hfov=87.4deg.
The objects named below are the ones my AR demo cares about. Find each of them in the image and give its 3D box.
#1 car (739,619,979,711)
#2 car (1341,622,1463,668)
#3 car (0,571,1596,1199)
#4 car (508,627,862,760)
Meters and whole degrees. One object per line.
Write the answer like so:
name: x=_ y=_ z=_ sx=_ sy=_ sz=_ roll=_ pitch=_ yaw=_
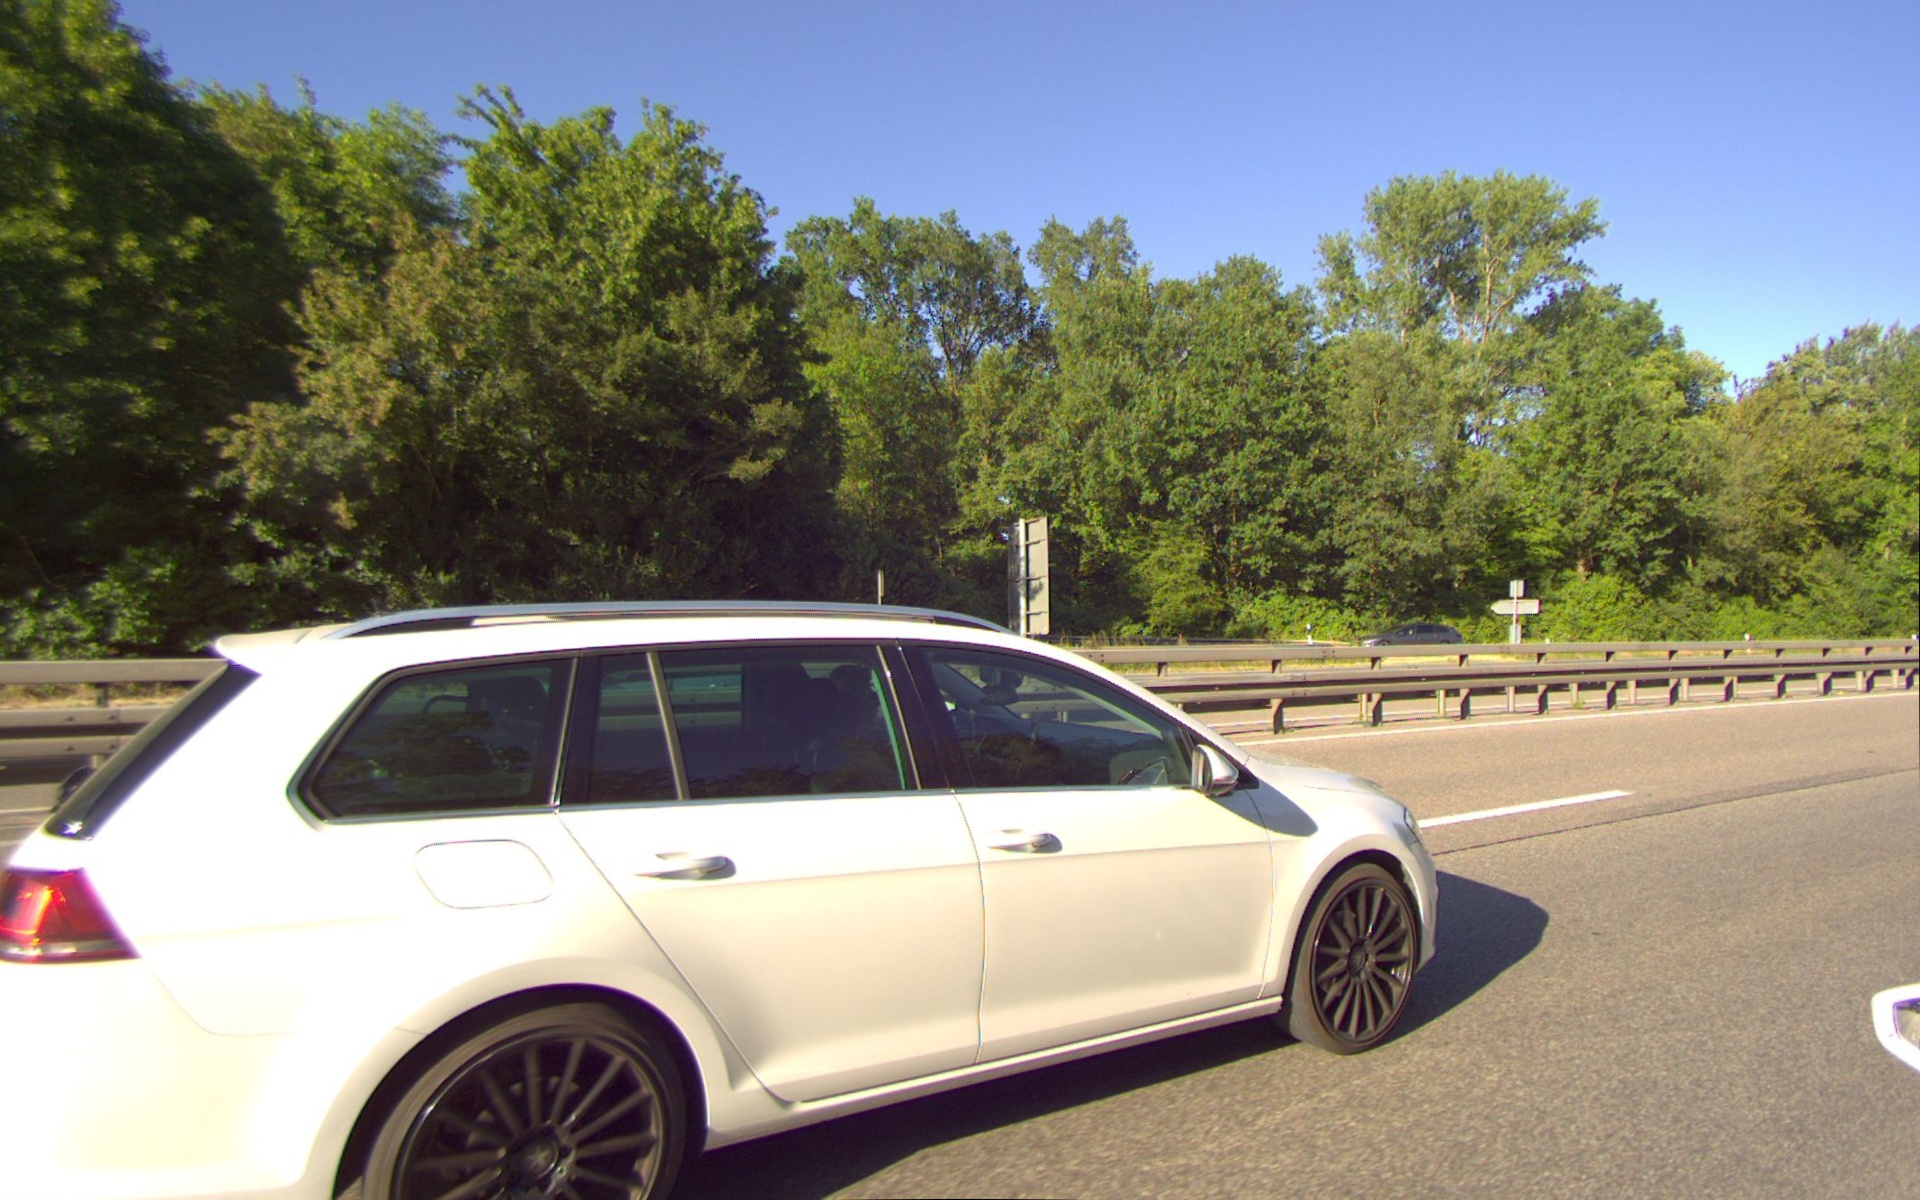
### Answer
car: x=-1.993 y=1.220 z=20.119 sx=4.371 sy=1.671 sz=1.984 roll=1 pitch=-1 yaw=-31
car: x=19.639 y=1.971 z=44.716 sx=4.578 sy=1.884 sz=1.998 roll=2 pitch=-1 yaw=-6
car: x=-0.322 y=0.745 z=3.446 sx=5.533 sy=1.528 sz=1.920 roll=1 pitch=0 yaw=-30
car: x=-3.760 y=1.164 z=13.889 sx=4.371 sy=1.533 sz=1.984 roll=1 pitch=0 yaw=-31
